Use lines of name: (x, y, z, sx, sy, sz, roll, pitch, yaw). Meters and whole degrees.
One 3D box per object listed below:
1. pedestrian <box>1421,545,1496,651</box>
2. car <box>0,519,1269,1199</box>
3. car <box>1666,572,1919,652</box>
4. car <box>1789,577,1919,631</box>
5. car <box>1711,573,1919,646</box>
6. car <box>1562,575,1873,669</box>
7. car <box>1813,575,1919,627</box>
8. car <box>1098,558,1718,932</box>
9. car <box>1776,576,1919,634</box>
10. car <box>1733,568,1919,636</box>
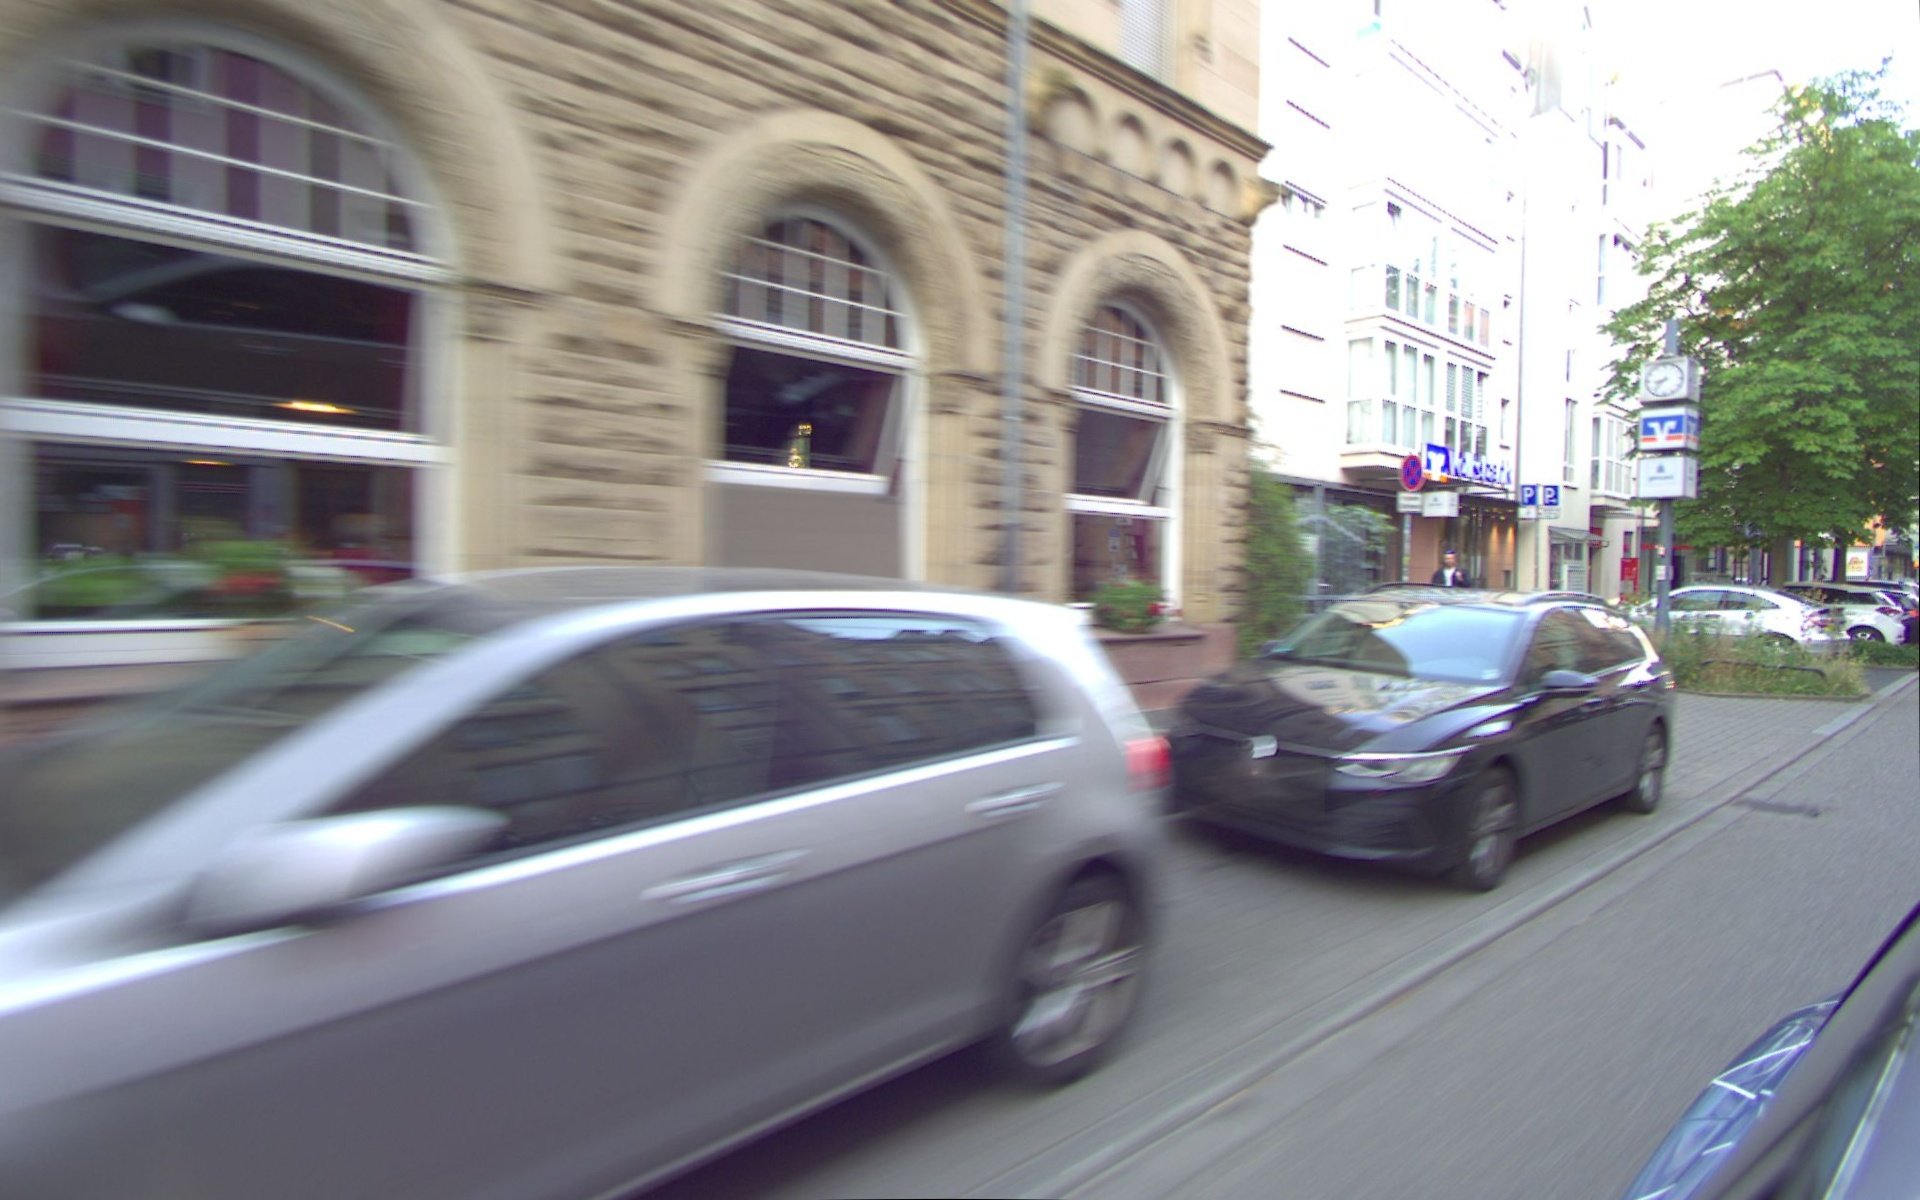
pedestrian: (8.720, -0.052, 17.720, 0.818, 1.788, 0.852, 0, 3, -38)
car: (-1.227, 0.591, 2.555, 4.479, 1.502, 1.767, -1, 4, -42)
car: (18.516, 0.196, 22.517, 1.792, 1.547, 4.298, 0, 2, -41)
car: (28.111, 0.105, 30.741, 1.792, 1.547, 4.298, 0, 2, -41)
car: (20.510, 0.175, 23.809, 1.792, 1.547, 4.298, 0, 2, -41)
car: (13.804, 0.303, 18.650, 1.792, 1.469, 4.298, 0, 2, -41)
car: (30.088, 0.034, 32.171, 1.792, 1.547, 4.298, 0, 2, -41)
car: (3.032, 0.557, 6.317, 4.477, 1.502, 1.767, -1, 4, -41)
car: (26.457, 0.117, 29.185, 1.792, 1.555, 4.298, 0, 2, -41)
car: (24.056, 0.017, 27.732, 1.792, 1.697, 4.298, 0, 2, -41)
